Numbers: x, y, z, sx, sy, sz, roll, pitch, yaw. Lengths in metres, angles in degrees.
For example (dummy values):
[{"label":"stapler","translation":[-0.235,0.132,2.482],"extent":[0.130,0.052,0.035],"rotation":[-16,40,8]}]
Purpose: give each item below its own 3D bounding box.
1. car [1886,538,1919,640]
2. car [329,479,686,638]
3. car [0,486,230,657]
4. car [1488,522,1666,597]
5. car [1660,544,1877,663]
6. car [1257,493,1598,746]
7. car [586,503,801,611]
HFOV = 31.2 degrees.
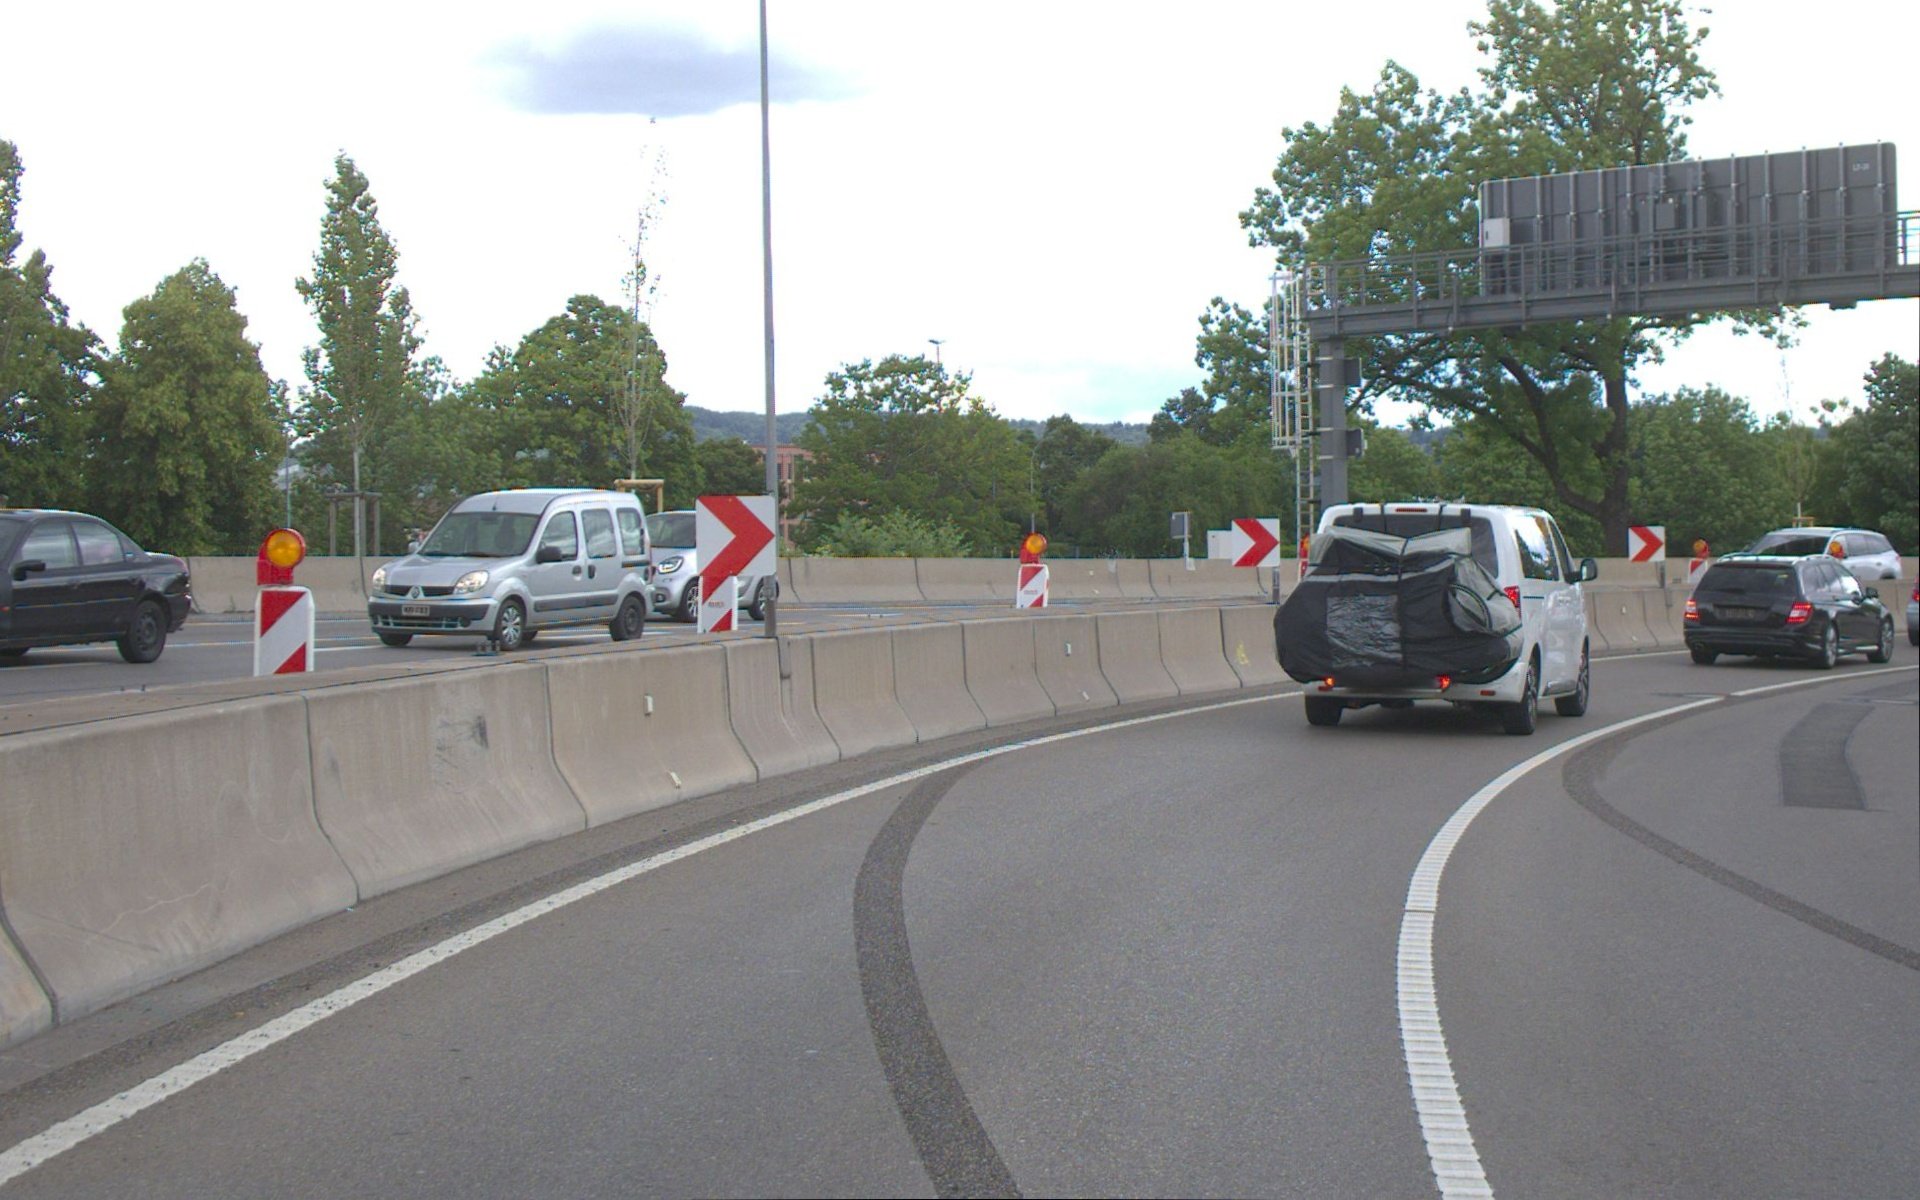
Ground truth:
[{"label":"car","translation":[15.566,-0.192,51.787],"extent":[1.924,1.483,4.057],"rotation":[1,2,34]},{"label":"car","translation":[-5.021,-0.472,38.717],"extent":[1.996,1.680,4.254],"rotation":[1,1,25]},{"label":"car","translation":[-8.825,-0.275,31.192],"extent":[1.996,1.483,4.582],"rotation":[1,1,24]},{"label":"car","translation":[12.434,-0.818,69.155],"extent":[1.931,1.445,3.991],"rotation":[2,1,37]},{"label":"car","translation":[10.408,0.020,44.090],"extent":[1.817,1.429,4.059],"rotation":[-1,1,26]},{"label":"car","translation":[4.068,0.079,29.034],"extent":[1.994,1.852,5.637],"rotation":[2,2,16]},{"label":"car","translation":[-3.749,-0.616,48.711],"extent":[1.628,1.470,2.936],"rotation":[1,1,31]}]
